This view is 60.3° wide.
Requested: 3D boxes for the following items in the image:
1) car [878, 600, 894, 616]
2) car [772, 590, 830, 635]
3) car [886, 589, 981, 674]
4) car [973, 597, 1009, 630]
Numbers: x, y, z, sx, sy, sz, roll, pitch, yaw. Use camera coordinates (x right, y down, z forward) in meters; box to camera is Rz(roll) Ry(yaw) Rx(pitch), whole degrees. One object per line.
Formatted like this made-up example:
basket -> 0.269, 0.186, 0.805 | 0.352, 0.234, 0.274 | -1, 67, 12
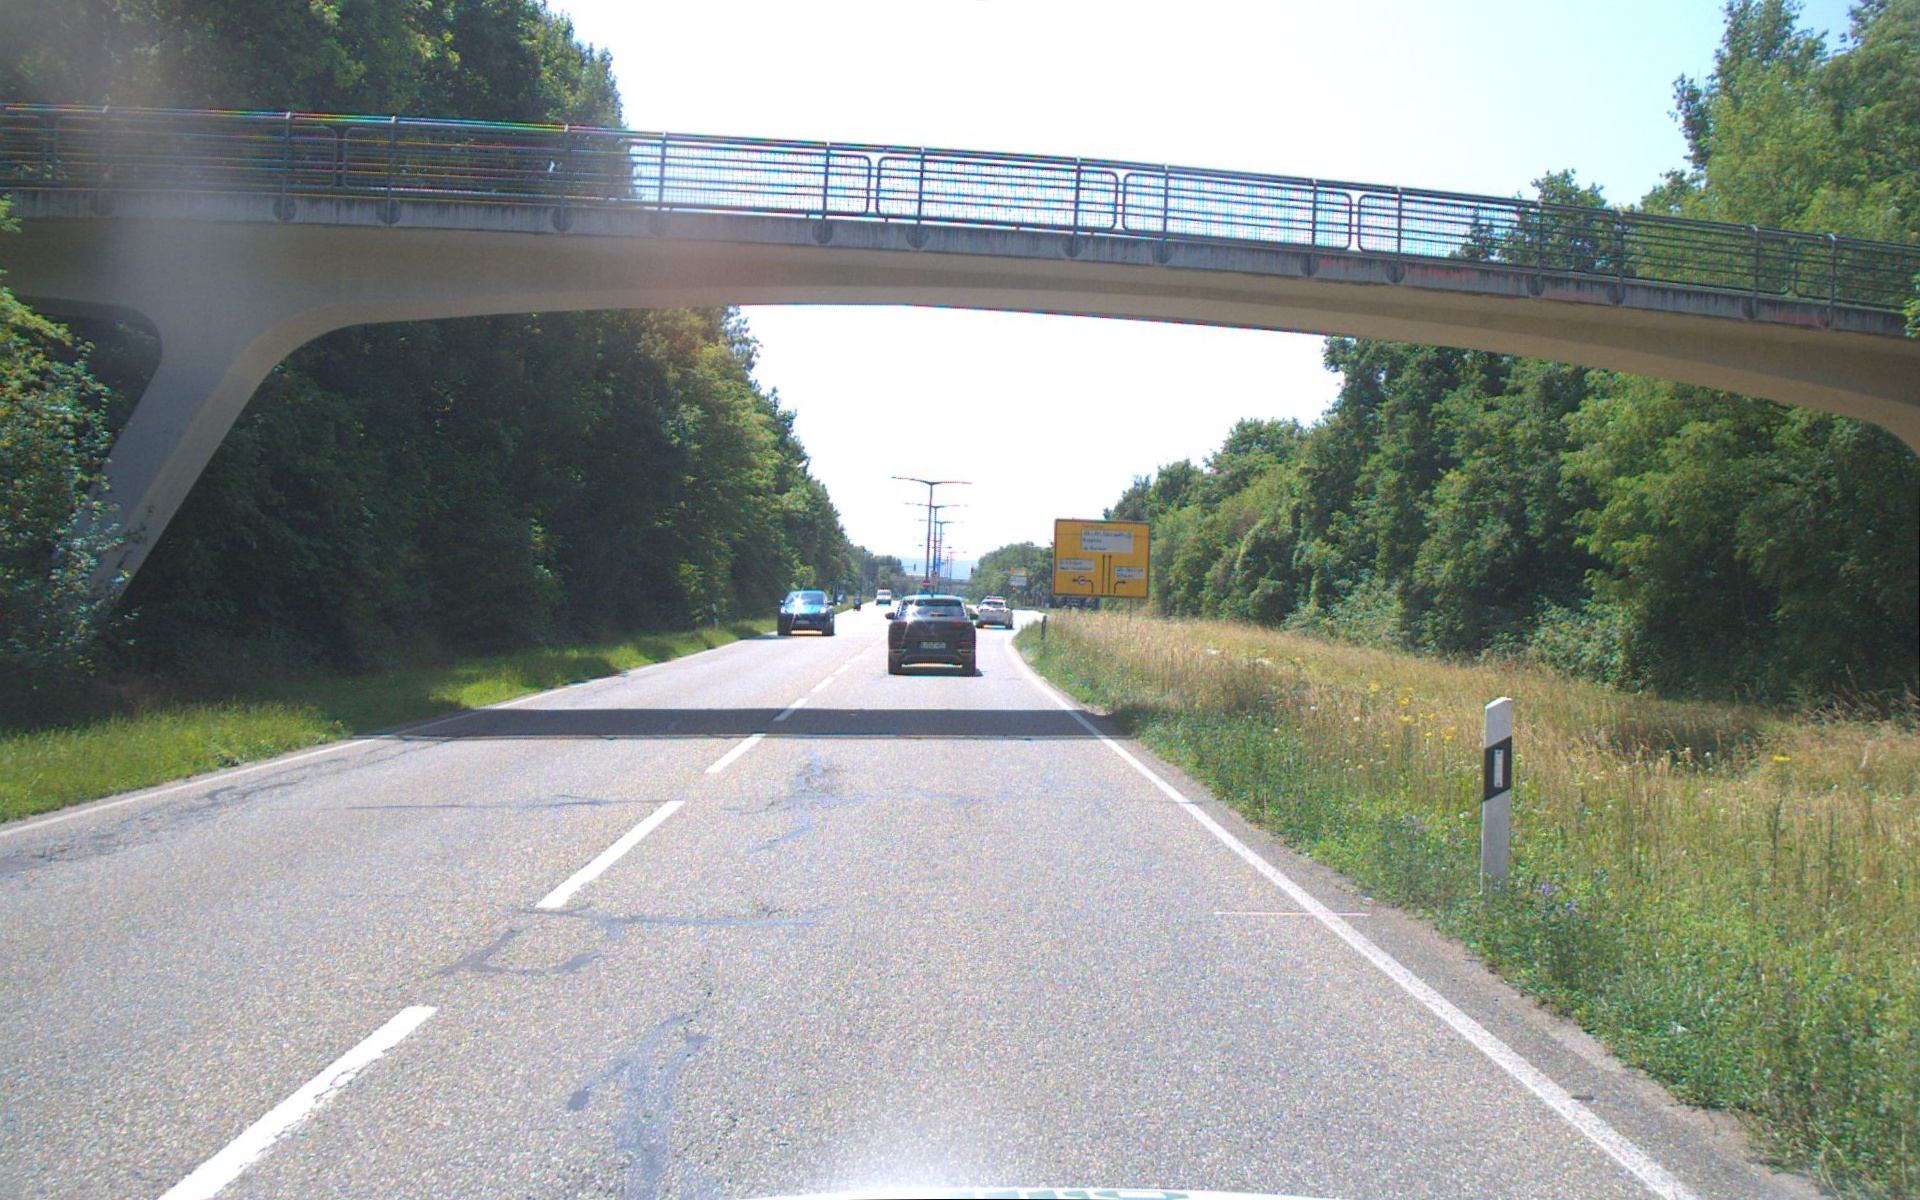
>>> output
car -> -8.216, 0.887, 184.498 | 1.697, 1.717, 4.094 | 0, 0, -1
car -> -5.848, 0.438, 61.259 | 1.786, 1.618, 4.418 | 0, 0, -1
car -> -0.594, 0.617, 33.828 | 1.720, 1.583, 3.997 | 2, 0, -3
car -> 1.588, 0.698, 84.271 | 1.760, 1.611, 4.000 | 1, 0, 1
